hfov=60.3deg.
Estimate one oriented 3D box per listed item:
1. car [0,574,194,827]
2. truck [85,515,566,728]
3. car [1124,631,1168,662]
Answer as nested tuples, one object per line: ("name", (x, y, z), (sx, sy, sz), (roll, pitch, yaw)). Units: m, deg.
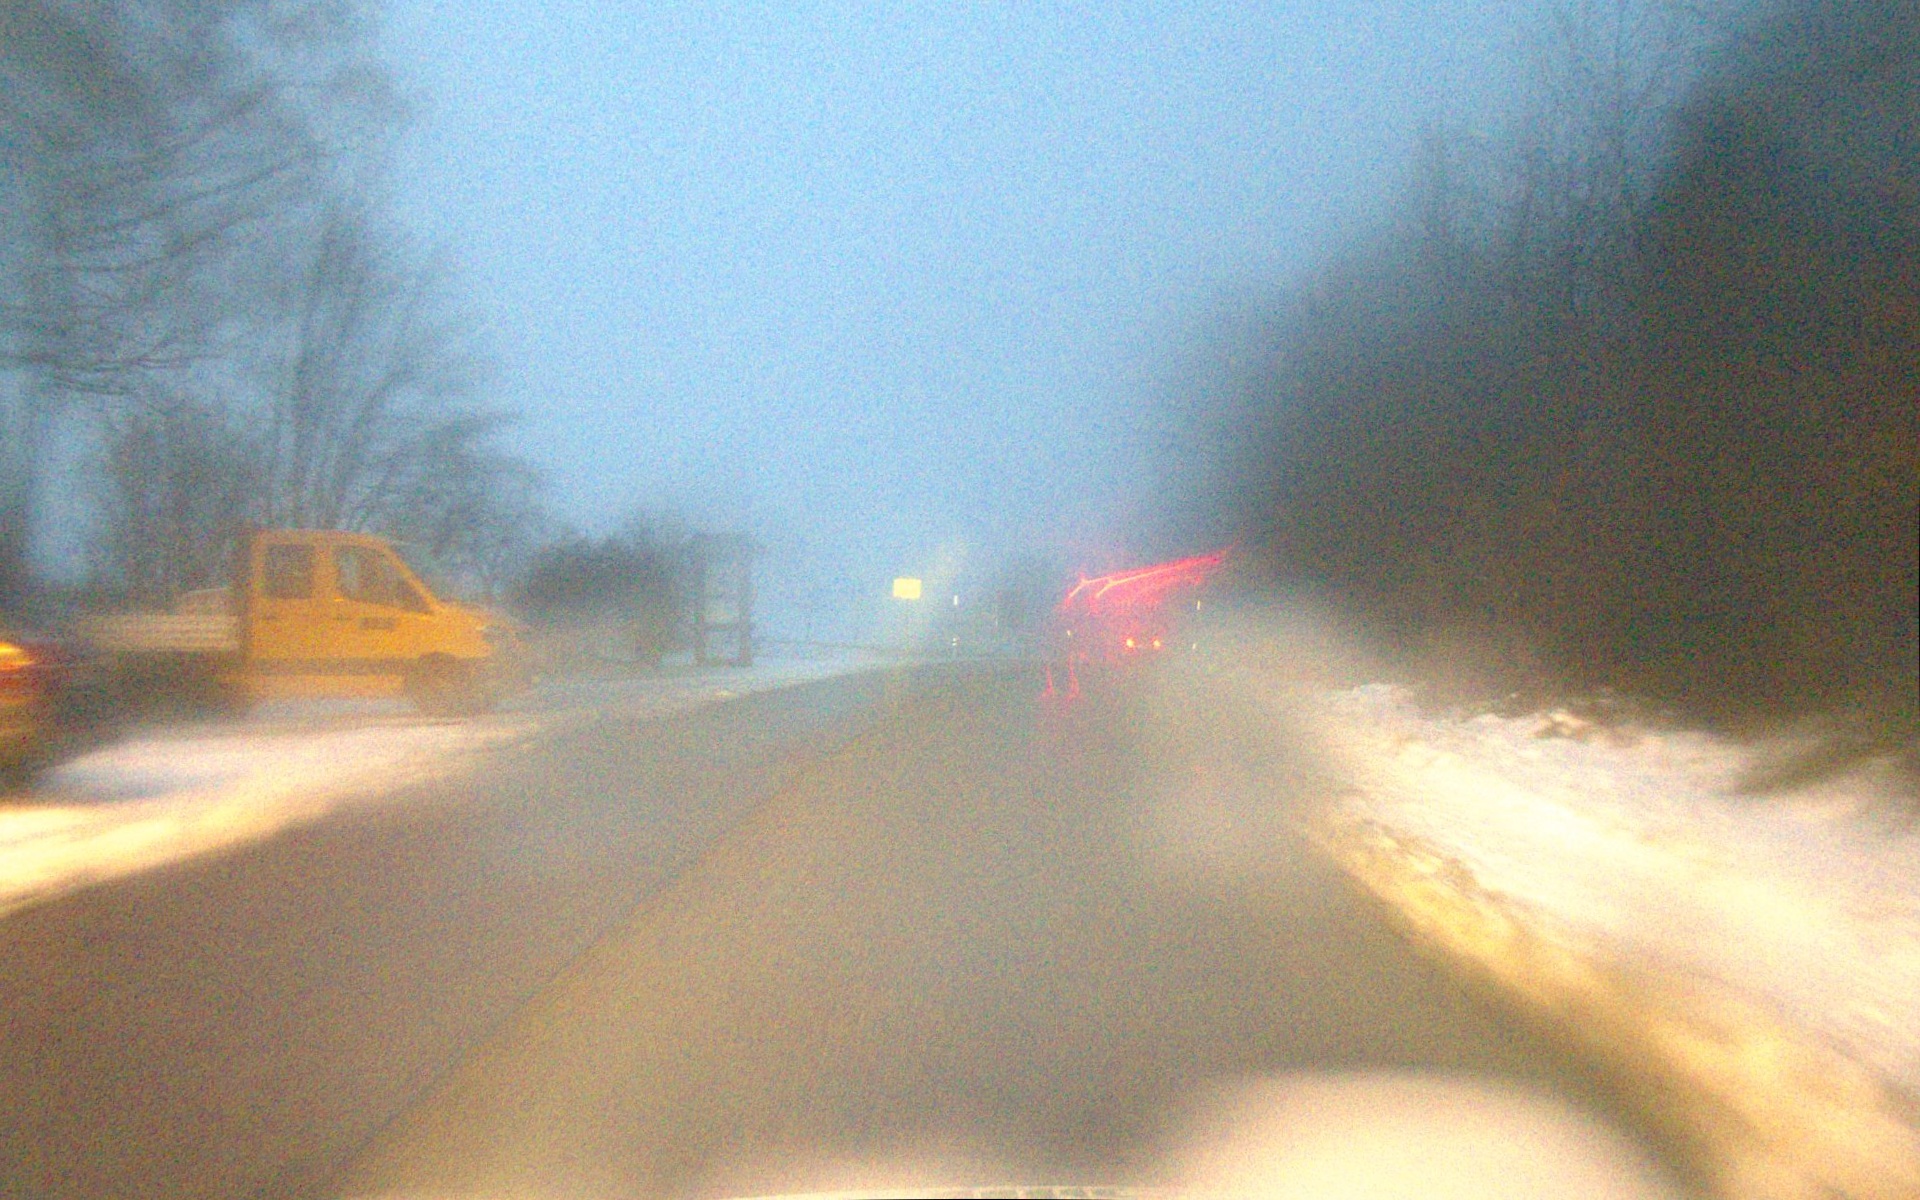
("car", (-7.933, 0.672, 10.827), (4.791, 1.511, 2.122), (-2, 0, -4))
("truck", (-7.740, 0.235, 20.647), (5.158, 2.343, 1.998), (-2, 0, -5))
("car", (8.918, 2.258, 79.585), (1.951, 1.445, 4.001), (0, -2, 4))
